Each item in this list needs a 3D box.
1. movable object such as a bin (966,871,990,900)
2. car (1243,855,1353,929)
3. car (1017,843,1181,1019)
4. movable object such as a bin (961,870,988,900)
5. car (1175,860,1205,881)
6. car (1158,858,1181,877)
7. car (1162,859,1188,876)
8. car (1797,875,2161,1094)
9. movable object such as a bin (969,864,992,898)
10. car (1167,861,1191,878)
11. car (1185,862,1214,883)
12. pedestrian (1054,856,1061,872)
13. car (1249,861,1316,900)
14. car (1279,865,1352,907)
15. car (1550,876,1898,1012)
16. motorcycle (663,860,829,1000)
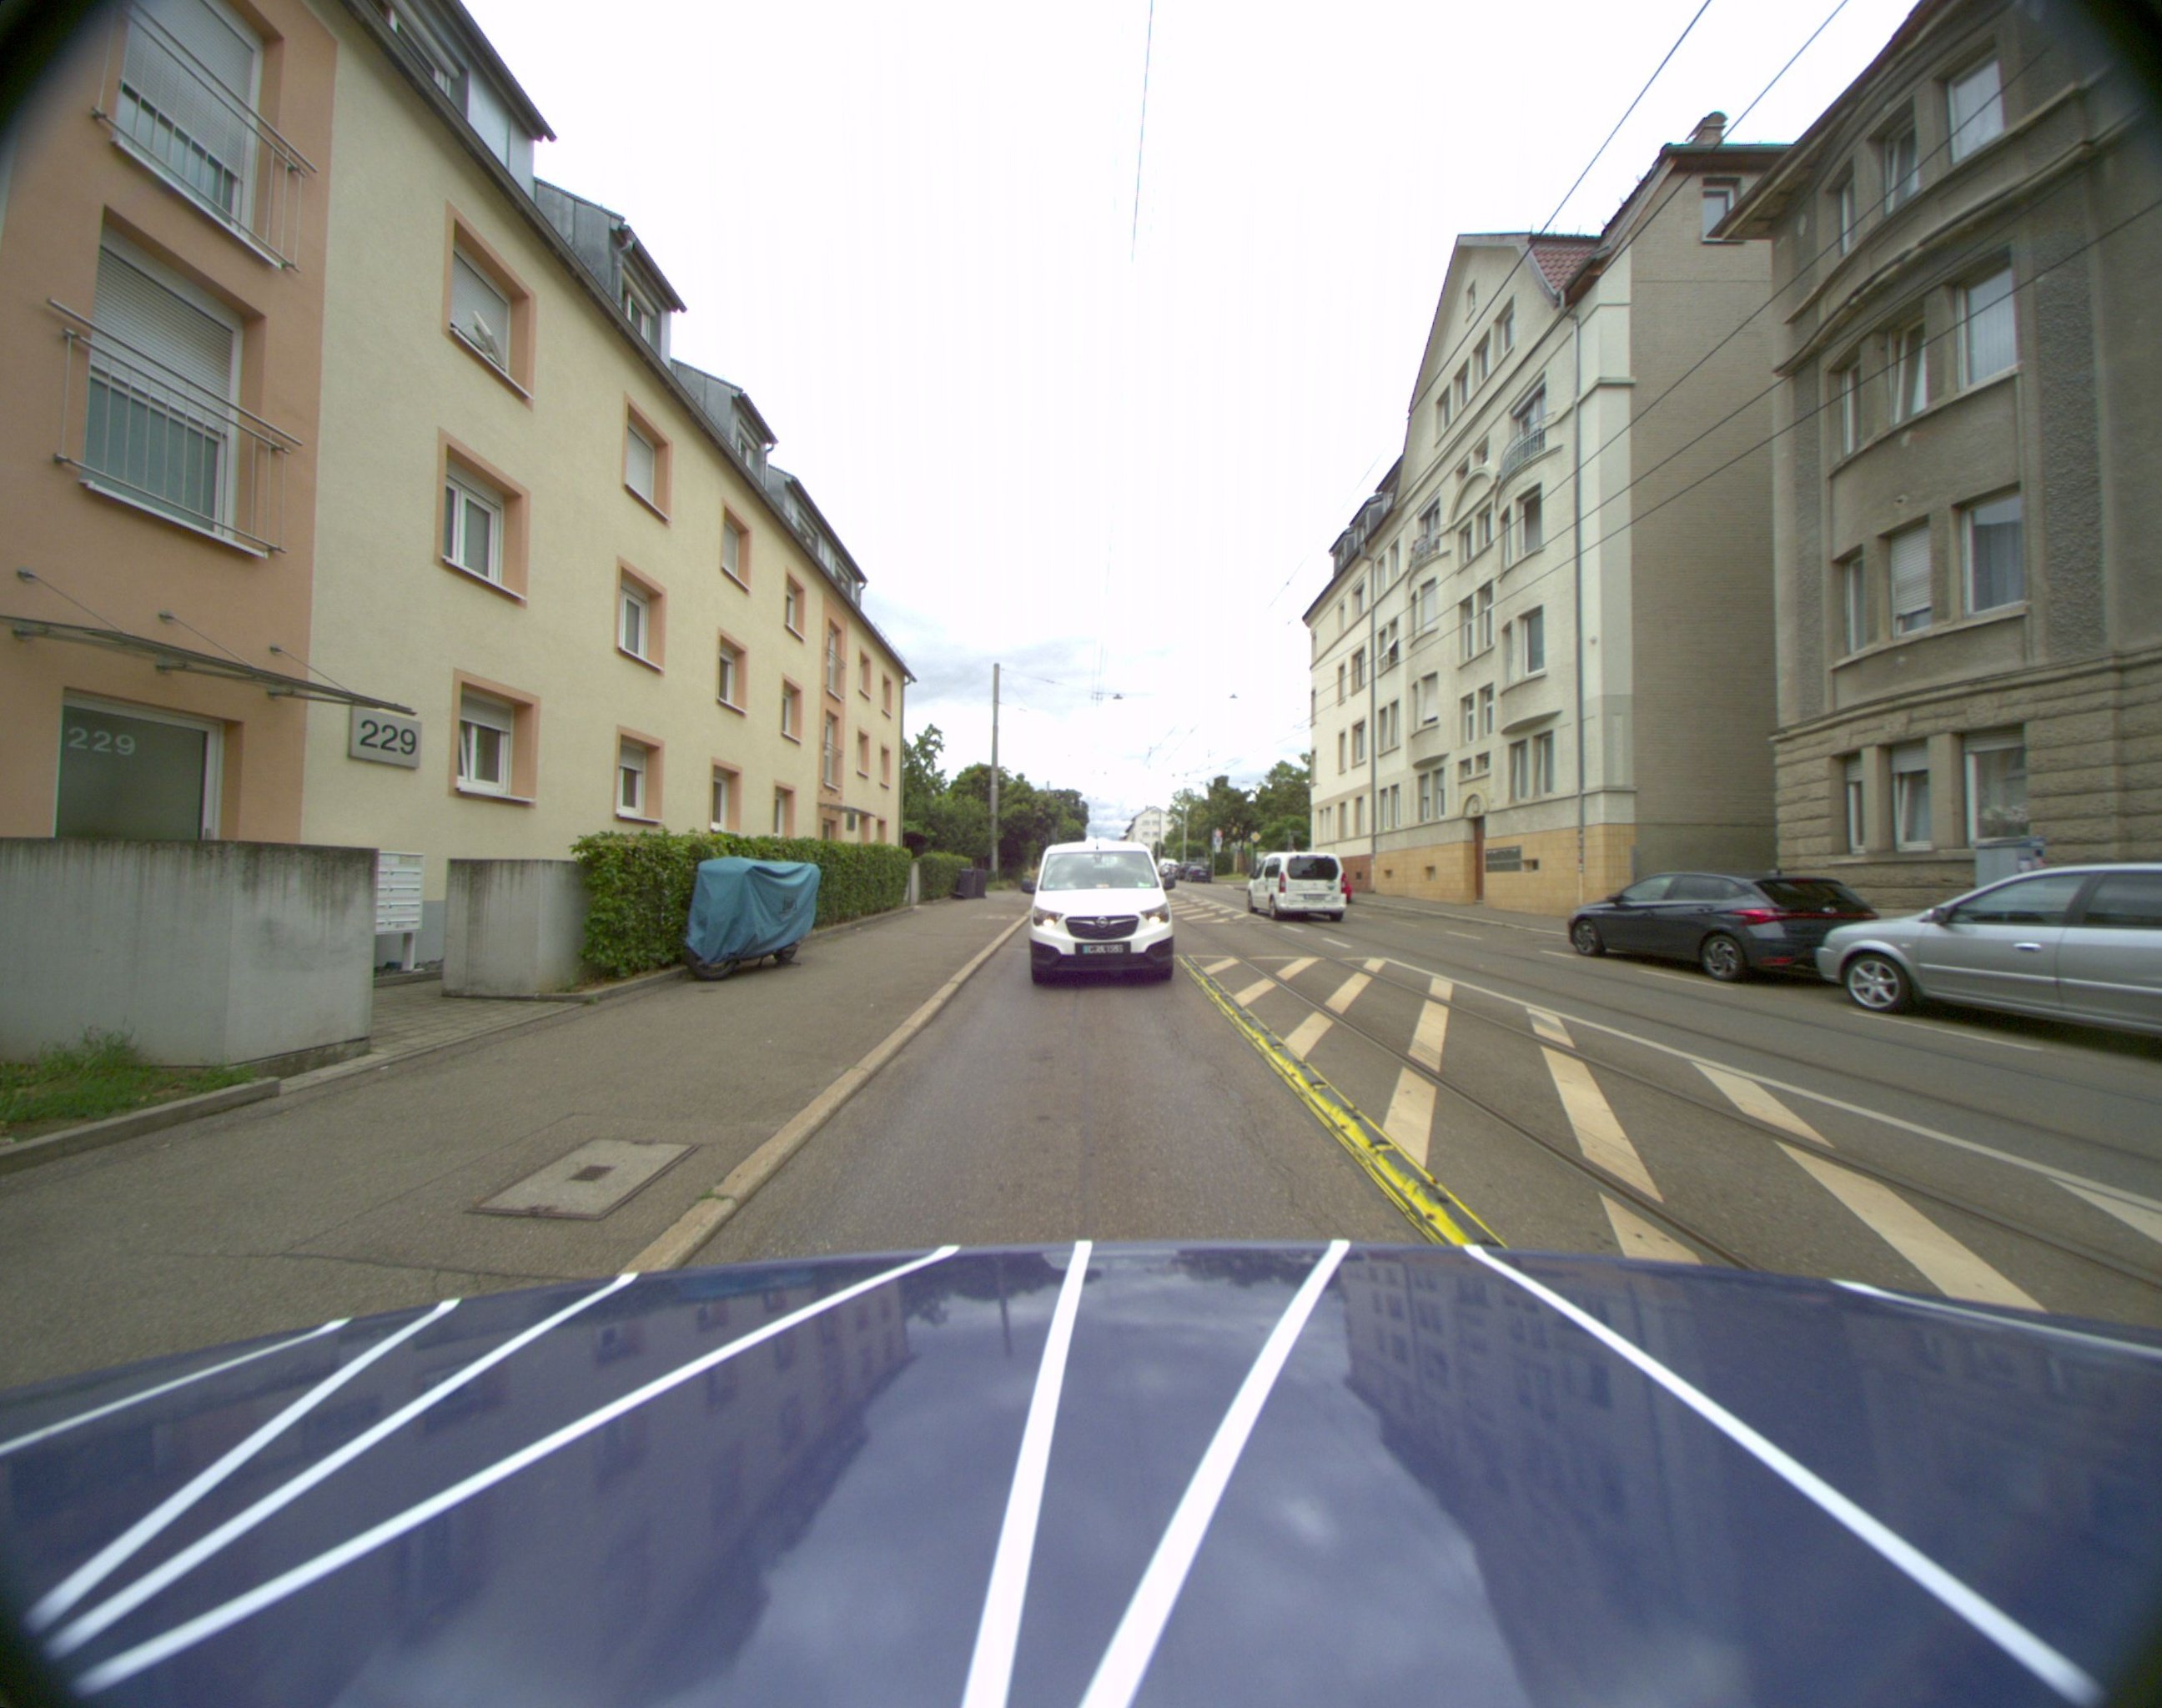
[{"bbox_3d":[-3.662,1.109,27.159,0.794,1.006,0.789,0,0,-3],"label":"movable object such as a bin"},{"bbox_3d":[5.800,0.945,20.866,1.925,1.808,4.218,0,0,2],"label":"car"},{"bbox_3d":[0.246,0.823,10.201,1.730,1.850,4.421,0,0,1],"label":"car"},{"bbox_3d":[-3.676,1.058,26.224,0.794,1.006,0.789,0,0,3],"label":"movable object such as a bin"},{"bbox_3d":[9.637,1.441,67.636,1.974,1.677,4.443,1,1,-1],"label":"car"},{"bbox_3d":[9.841,1.497,84.925,1.974,1.901,4.734,1,1,-1],"label":"car"},{"bbox_3d":[9.706,1.367,78.876,1.974,1.677,4.632,1,1,-1],"label":"car"},{"bbox_3d":[8.959,1.032,6.440,1.625,1.595,4.351,1,0,-1],"label":"car"},{"bbox_3d":[-3.695,0.979,28.011,0.794,1.211,0.789,0,0,-3],"label":"movable object such as a bin"},{"bbox_3d":[9.482,1.478,73.593,1.743,1.500,3.868,1,1,-1],"label":"car"},{"bbox_3d":[9.443,1.445,60.741,1.625,1.469,4.155,1,1,-1],"label":"car"},{"bbox_3d":[-2.437,1.038,77.914,0.716,1.611,0.718,0,0,1],"label":"pedestrian"},{"bbox_3d":[9.300,1.179,35.447,1.872,1.636,4.401,1,1,-1],"label":"car"},{"bbox_3d":[9.274,1.222,30.332,1.625,1.454,3.744,1,1,-2],"label":"car"},{"bbox_3d":[8.988,1.145,11.160,1.625,1.454,4.032,1,1,-1],"label":"car"},{"bbox_3d":[-3.943,0.810,9.254,0.840,1.448,2.553,0,0,1],"label":"motorcycle"}]
